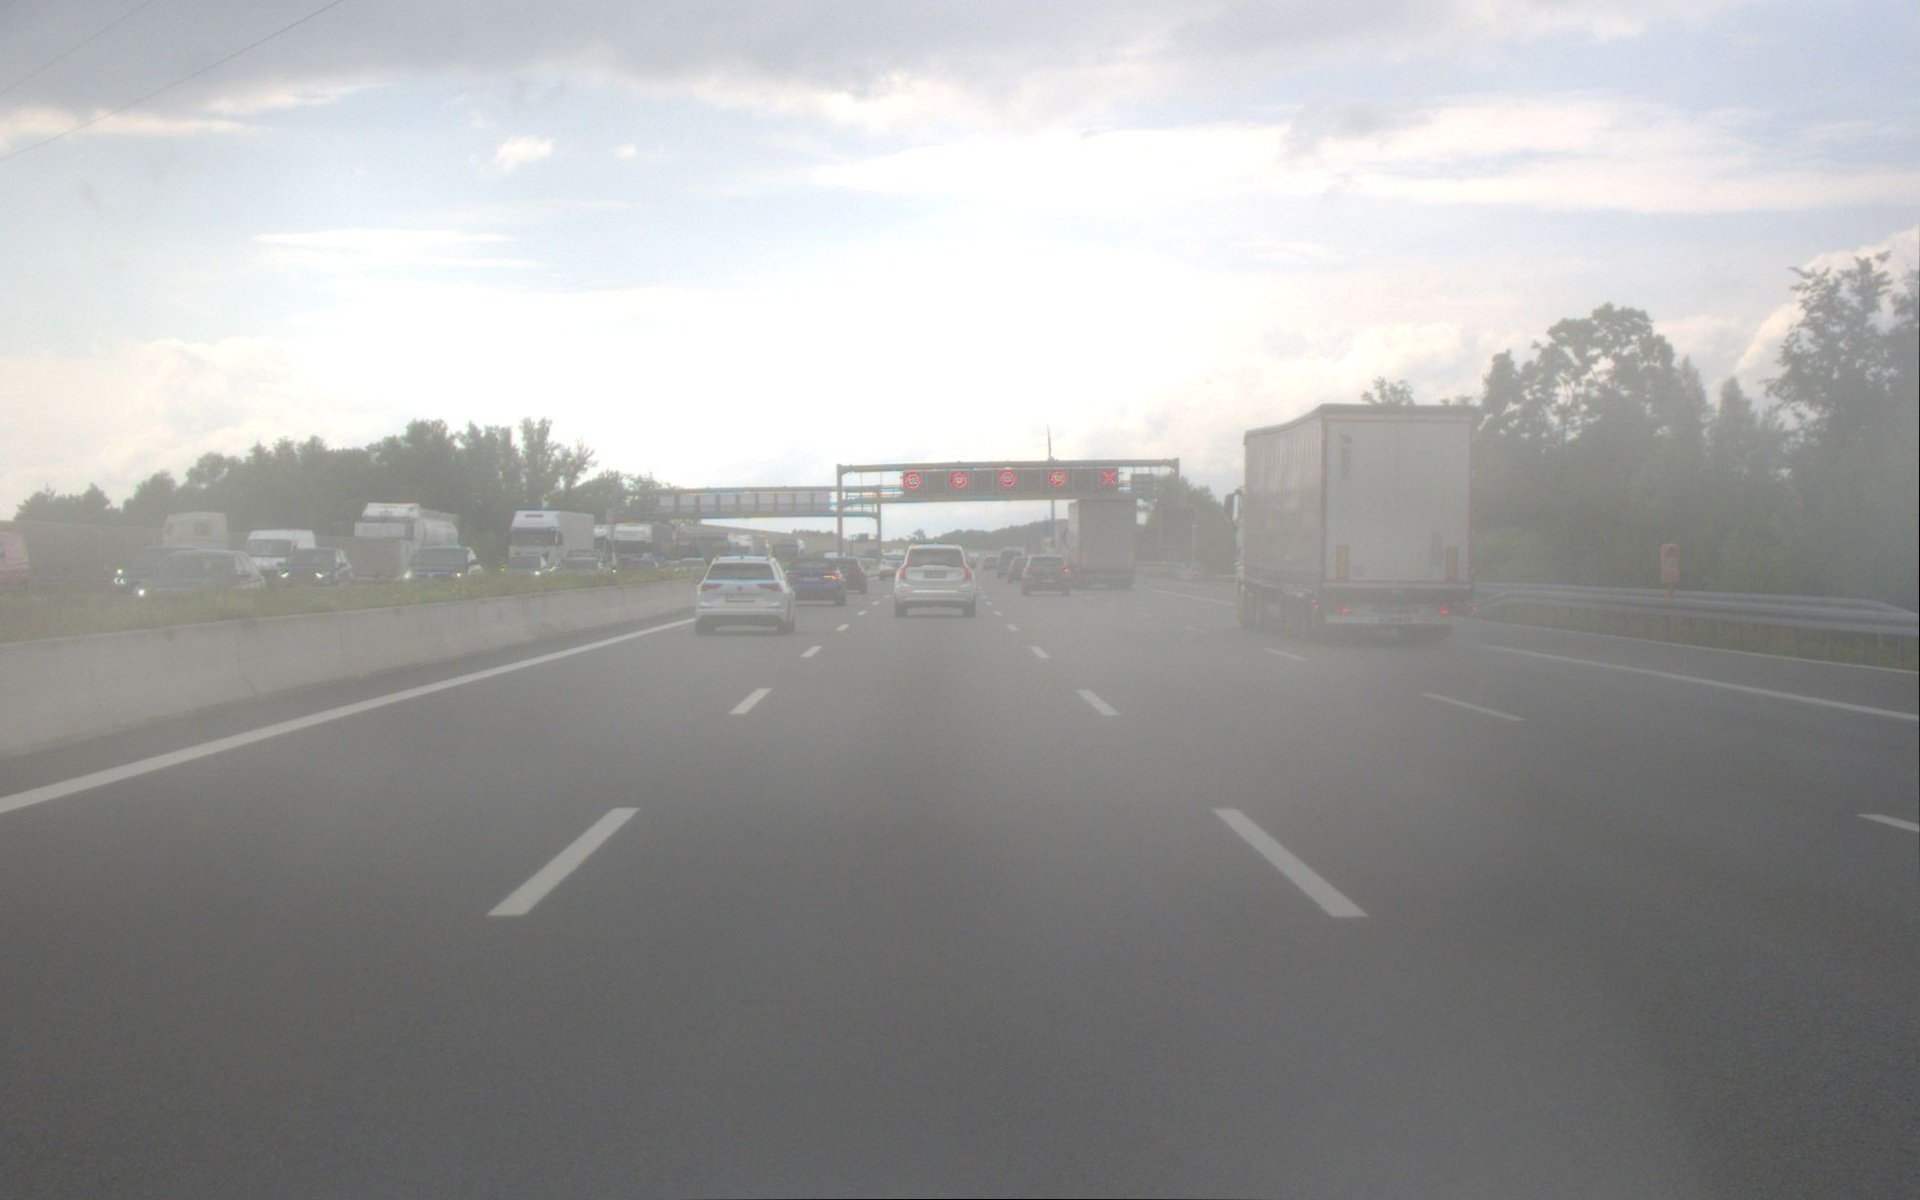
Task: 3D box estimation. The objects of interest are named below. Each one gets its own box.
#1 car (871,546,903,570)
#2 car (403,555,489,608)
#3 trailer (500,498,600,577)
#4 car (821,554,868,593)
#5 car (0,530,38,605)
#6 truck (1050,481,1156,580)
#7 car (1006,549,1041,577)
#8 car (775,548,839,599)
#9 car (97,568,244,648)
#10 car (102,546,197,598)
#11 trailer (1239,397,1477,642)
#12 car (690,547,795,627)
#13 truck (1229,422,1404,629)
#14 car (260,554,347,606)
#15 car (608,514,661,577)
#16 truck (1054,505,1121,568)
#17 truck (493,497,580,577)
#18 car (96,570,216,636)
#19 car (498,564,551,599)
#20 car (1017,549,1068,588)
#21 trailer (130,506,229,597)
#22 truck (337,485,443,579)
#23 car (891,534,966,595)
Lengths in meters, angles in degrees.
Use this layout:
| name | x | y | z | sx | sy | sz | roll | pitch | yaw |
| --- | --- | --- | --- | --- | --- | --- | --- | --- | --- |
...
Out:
| name | x | y | z | sx | sy | sz | roll | pitch | yaw |
| --- | --- | --- | --- | --- | --- | --- | --- | --- | --- |
| car | -4.374 | -2.521 | 207.128 | 1.772 | 1.436 | 4.055 | 1 | 1 | 0 |
| car | -14.757 | -0.552 | 98.921 | 1.826 | 1.449 | 4.943 | 1 | 1 | -1 |
| trailer | -22.186 | -3.367 | 187.067 | 3.660 | 4.094 | 13.399 | 1 | 1 | 0 |
| car | -4.464 | -1.045 | 133.440 | 1.772 | 1.436 | 4.056 | 1 | 1 | -2 |
| car | -26.015 | -0.892 | 91.419 | 1.765 | 1.960 | 4.943 | 1 | 1 | -1 |
| truck | 6.451 | -3.130 | 157.297 | 4.180 | 4.273 | 12.613 | 1 | 1 | 0 |
| car | 3.408 | -1.999 | 185.564 | 1.836 | 1.436 | 4.055 | 1 | 1 | 0 |
| car | -4.446 | -0.785 | 100.445 | 1.772 | 1.436 | 4.056 | 1 | 1 | -1 |
| car | -15.241 | 0.125 | 66.637 | 1.765 | 1.449 | 5.086 | 1 | 1 | -1 |
| car | -25.997 | -0.915 | 110.411 | 1.965 | 1.590 | 4.821 | 1 | 1 | -1 |
| trailer | 7.126 | -1.434 | 63.673 | 2.961 | 4.006 | 14.118 | 1 | 1 | 1 |
| car | -4.037 | -0.266 | 64.409 | 1.772 | 1.436 | 3.874 | 1 | 1 | -1 |
| truck | 7.211 | -1.507 | 70.292 | 2.961 | 4.006 | 6.589 | 1 | 1 | 1 |
| car | -19.024 | -0.596 | 99.740 | 1.765 | 1.449 | 4.234 | 1 | 1 | -1 |
| car | -21.932 | -3.631 | 231.769 | 2.982 | 4.136 | 6.043 | 1 | 1 | 0 |
| truck | 8.684 | -4.327 | 235.832 | 4.244 | 4.162 | 11.989 | 1 | 1 | 1 |
| truck | -22.218 | -3.299 | 180.801 | 3.660 | 4.034 | 6.524 | 1 | 1 | 1 |
| car | -18.882 | 0.048 | 80.926 | 1.765 | 1.449 | 4.943 | 1 | 1 | -1 |
| car | -18.868 | -0.817 | 149.161 | 1.787 | 1.449 | 4.565 | 1 | 1 | -1 |
| car | 3.108 | -1.196 | 129.820 | 1.836 | 1.436 | 4.055 | 1 | 1 | 0 |
| trailer | -26.136 | -1.623 | 115.282 | 2.247 | 2.952 | 4.901 | 1 | 1 | -1 |
| truck | -27.207 | -3.212 | 164.430 | 3.660 | 4.304 | 8.238 | 1 | 1 | 0 |
| car | -0.780 | -0.880 | 83.482 | 1.772 | 1.436 | 4.056 | 1 | 1 | -1 |
